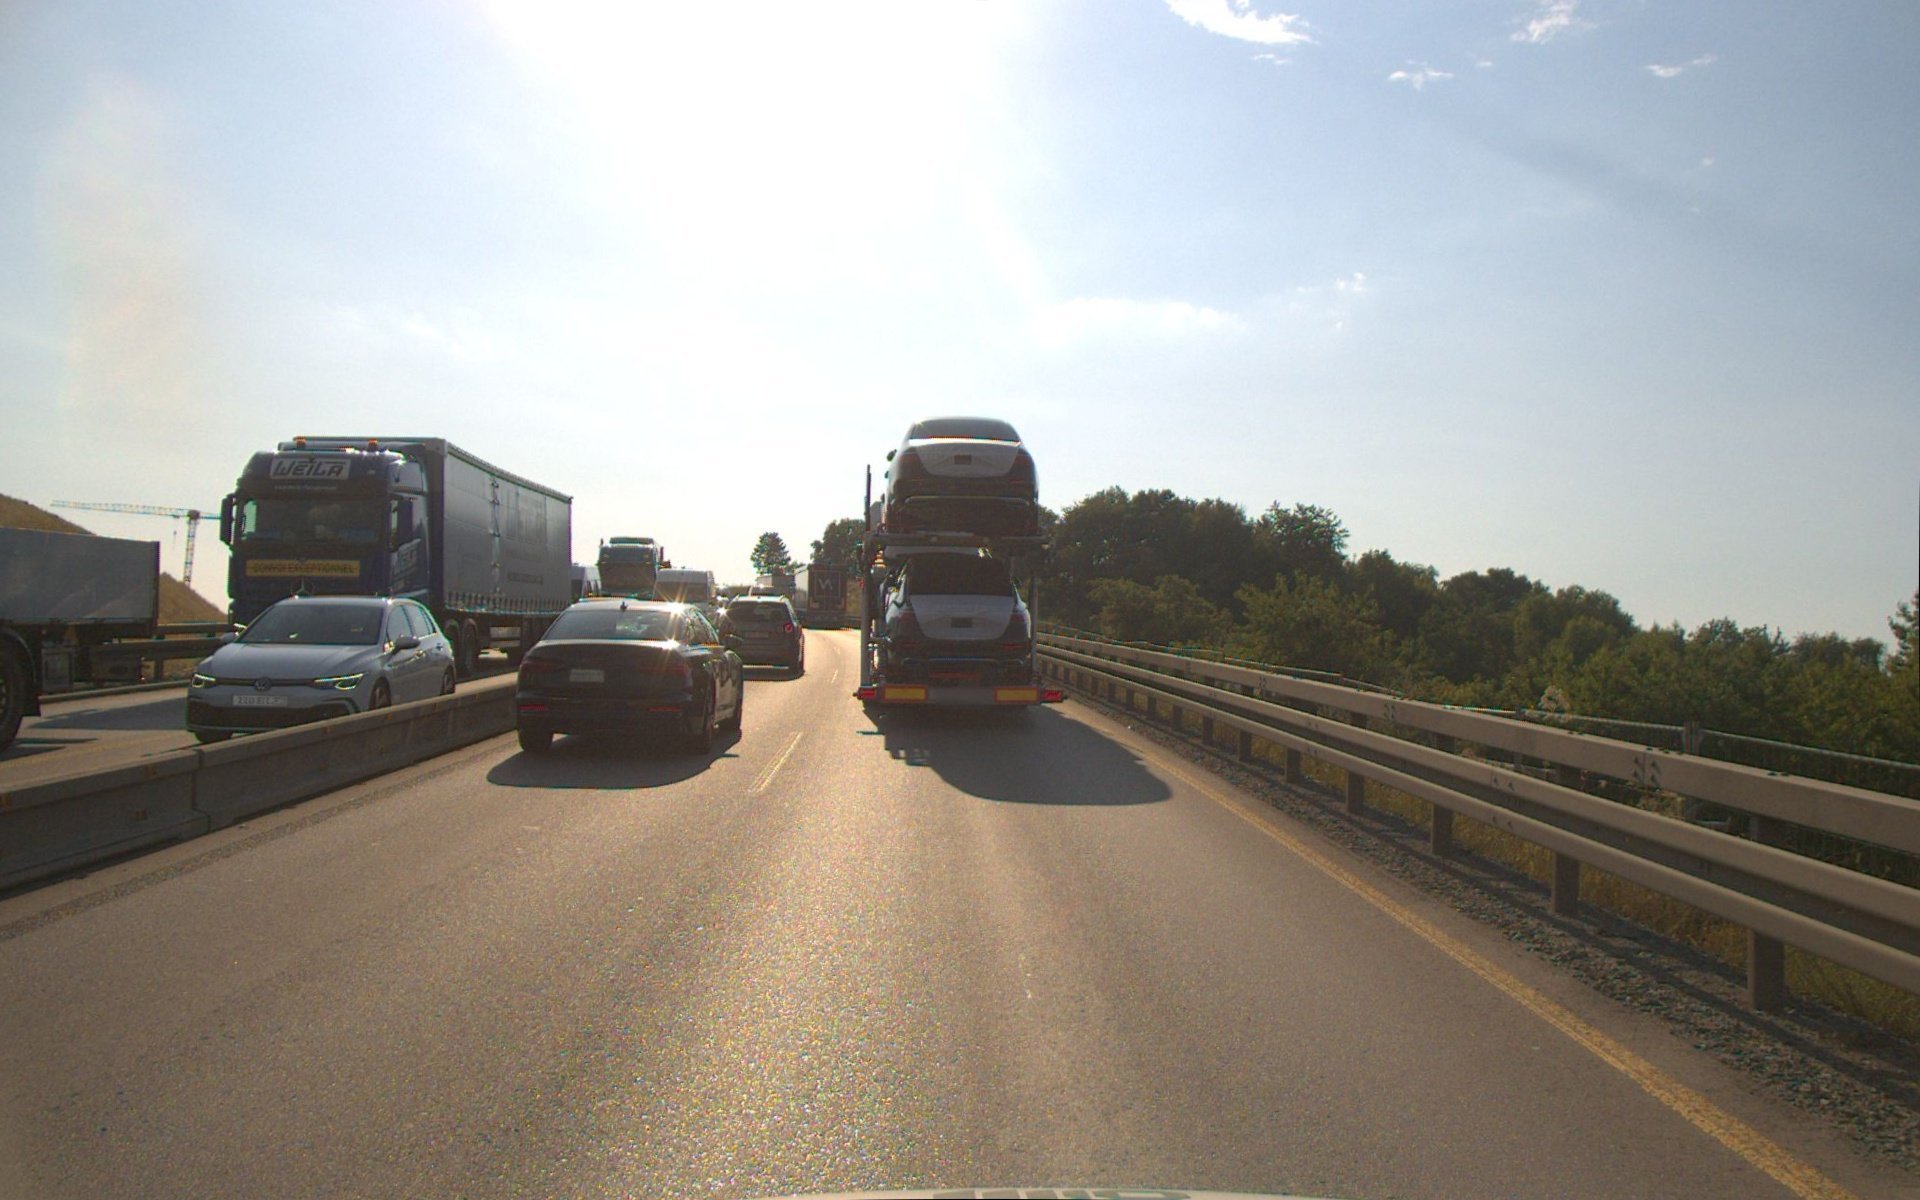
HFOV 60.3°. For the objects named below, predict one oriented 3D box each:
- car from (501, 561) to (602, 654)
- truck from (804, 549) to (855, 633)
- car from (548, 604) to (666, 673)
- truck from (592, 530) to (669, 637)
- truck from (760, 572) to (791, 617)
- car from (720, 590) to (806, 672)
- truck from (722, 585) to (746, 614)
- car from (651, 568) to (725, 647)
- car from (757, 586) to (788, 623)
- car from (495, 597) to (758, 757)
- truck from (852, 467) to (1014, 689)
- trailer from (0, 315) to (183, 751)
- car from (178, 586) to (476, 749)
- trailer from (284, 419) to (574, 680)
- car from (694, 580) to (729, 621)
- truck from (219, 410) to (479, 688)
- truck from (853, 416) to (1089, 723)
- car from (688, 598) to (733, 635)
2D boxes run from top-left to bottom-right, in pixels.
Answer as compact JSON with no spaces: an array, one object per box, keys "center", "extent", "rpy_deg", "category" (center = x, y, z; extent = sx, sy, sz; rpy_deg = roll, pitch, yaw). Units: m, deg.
[{"center":[-12.058,0.217,49.198],"extent":[2.116,2.602,5.582],"rpy_deg":[0,0,-6],"category":"car"},{"center":[-8.788,-0.536,110.255],"extent":[3.222,5.328,9.923],"rpy_deg":[0,0,-5],"category":"truck"},{"center":[-7.611,0.793,36.085],"extent":[1.723,1.402,4.765],"rpy_deg":[0,0,-2],"category":"car"},{"center":[-13.302,-0.624,67.087],"extent":[2.455,4.137,5.877],"rpy_deg":[0,0,-6],"category":"truck"},{"center":[-15.739,-0.418,141.607],"extent":[2.482,3.712,8.894],"rpy_deg":[0,0,-5],"category":"truck"},{"center":[-4.125,0.635,35.116],"extent":[1.658,1.624,3.996],"rpy_deg":[0,0,-5],"category":"car"},{"center":[-25.993,-0.046,190.201],"extent":[2.541,3.226,6.667],"rpy_deg":[0,0,-6],"category":"truck"},{"center":[-9.273,0.247,56.833],"extent":[2.017,2.544,6.767],"rpy_deg":[0,0,-5],"category":"car"},{"center":[-13.054,0.302,115.180],"extent":[1.883,2.536,5.404],"rpy_deg":[0,0,-4],"category":"car"},{"center":[-3.320,0.693,17.464],"extent":[1.895,1.423,4.959],"rpy_deg":[1,0,-2],"category":"car"},{"center":[-0.787,-0.353,33.959],"extent":[2.782,3.858,9.978],"rpy_deg":[0,0,-4],"category":"truck"},{"center":[-9.438,-0.607,11.008],"extent":[2.469,3.790,13.971],"rpy_deg":[0,0,-2],"category":"trailer"},{"center":[-6.590,0.651,17.719],"extent":[1.724,1.534,4.252],"rpy_deg":[0,0,-3],"category":"car"},{"center":[-10.282,-0.773,34.061],"extent":[2.261,4.203,14.588],"rpy_deg":[0,0,-4],"category":"trailer"},{"center":[-15.777,0.069,105.271],"extent":[2.065,2.526,6.056],"rpy_deg":[0,0,-8],"category":"car"},{"center":[-9.961,-0.749,27.591],"extent":[2.453,4.137,5.661],"rpy_deg":[0,0,-3],"category":"truck"},{"center":[-0.164,-0.322,24.597],"extent":[2.743,3.558,10.598],"rpy_deg":[0,0,-3],"category":"truck"},{"center":[-11.848,0.770,78.713],"extent":[1.834,1.724,4.591],"rpy_deg":[0,0,-5],"category":"car"}]
